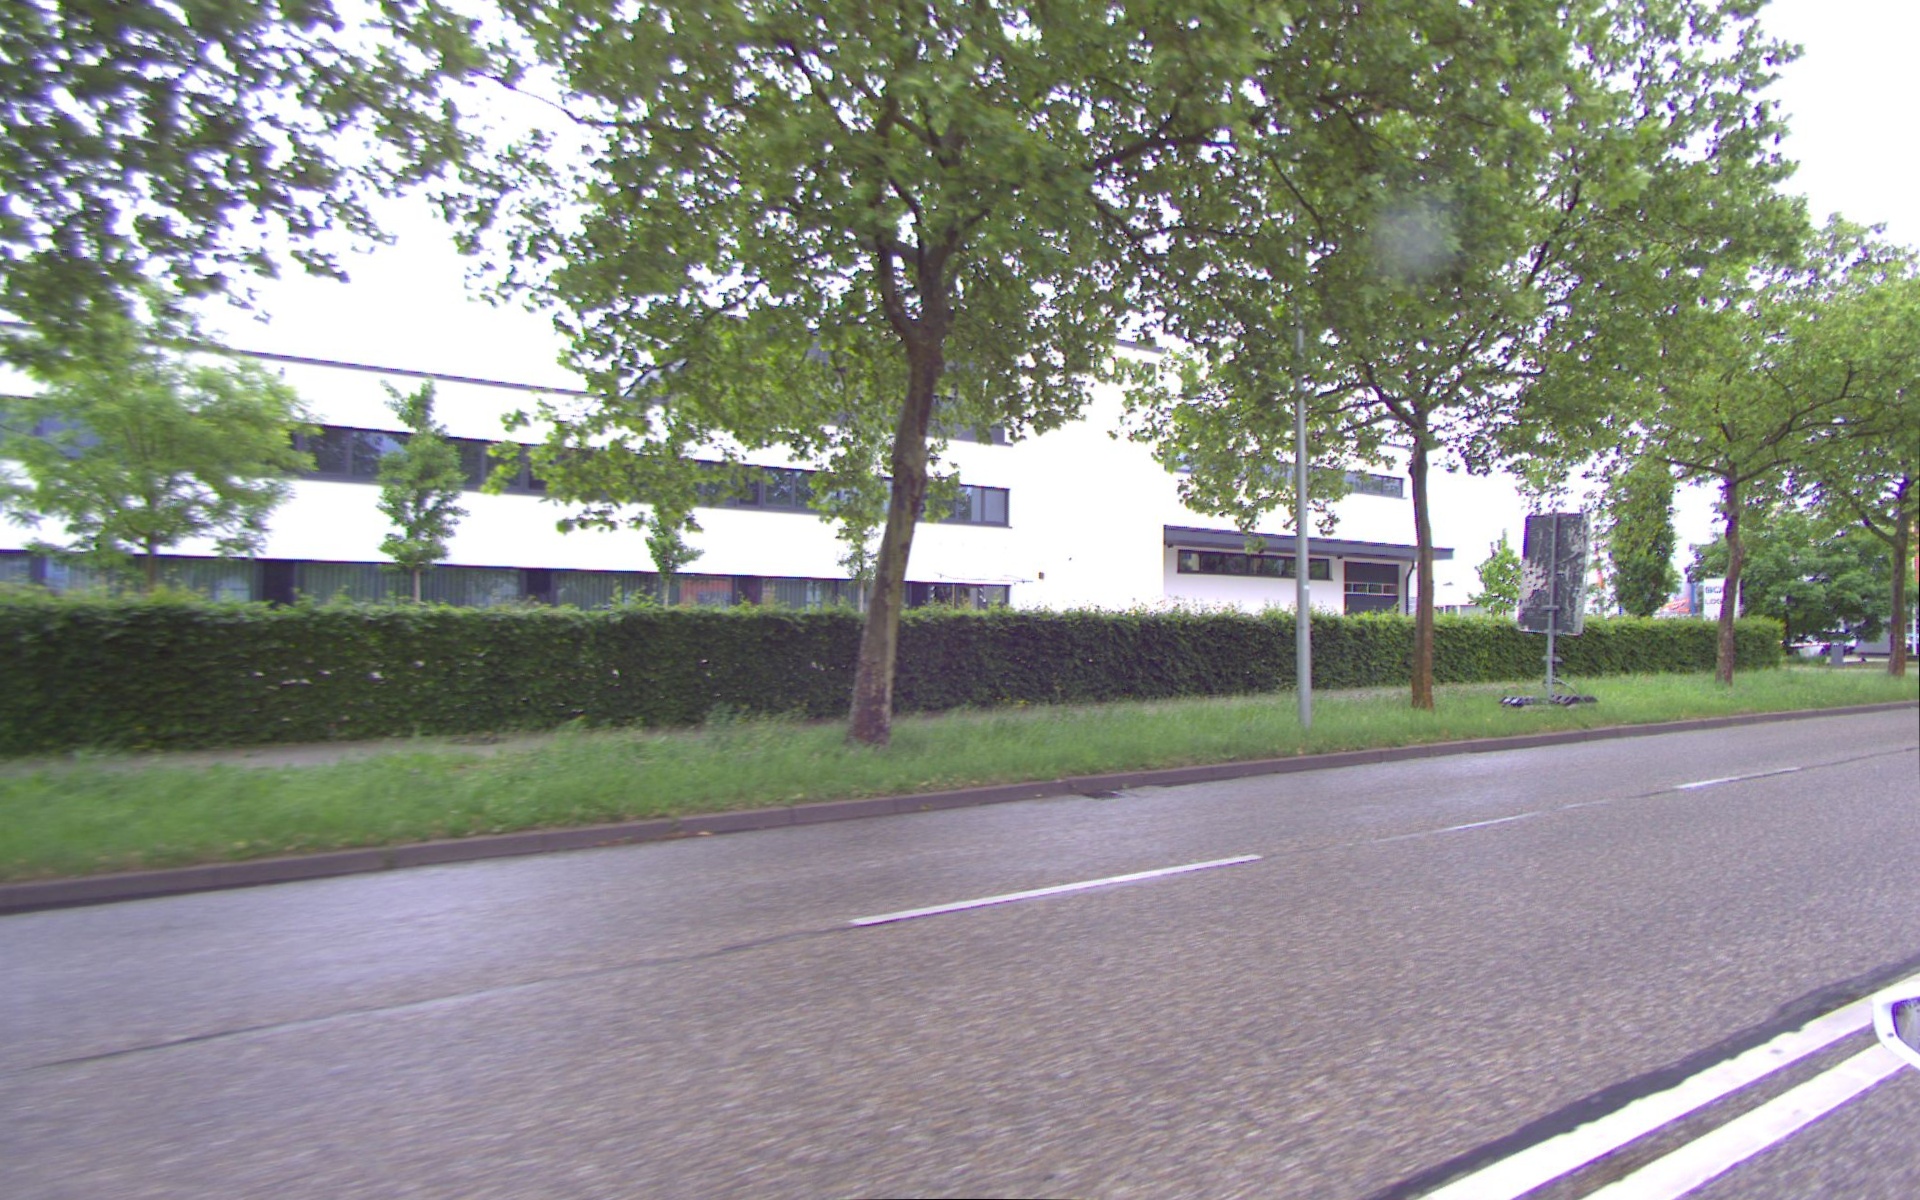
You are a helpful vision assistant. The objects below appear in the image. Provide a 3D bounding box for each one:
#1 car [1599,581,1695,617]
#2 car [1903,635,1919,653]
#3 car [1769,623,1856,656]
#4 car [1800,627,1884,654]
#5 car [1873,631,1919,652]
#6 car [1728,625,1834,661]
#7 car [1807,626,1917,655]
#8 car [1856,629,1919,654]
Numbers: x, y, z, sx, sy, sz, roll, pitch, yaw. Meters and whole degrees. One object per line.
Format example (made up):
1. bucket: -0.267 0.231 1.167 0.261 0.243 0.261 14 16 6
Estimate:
1. car: 38.082 -0.022 55.729 1.939 1.914 3.970 1 -2 -29
2. car: 82.537 3.714 84.857 1.574 1.487 3.985 1 -2 -18
3. car: 55.279 2.543 65.202 1.862 2.040 3.965 1 -2 -32
4. car: 60.259 2.716 68.648 1.862 1.790 3.965 1 -2 -32
5. car: 72.645 3.171 76.712 1.834 1.540 3.988 1 -2 -16
6. car: 37.007 1.907 45.247 5.188 1.516 2.107 1 -2 -32
7. car: 63.284 2.830 70.594 2.390 1.928 5.344 1 -2 -33
8. car: 70.312 3.081 75.600 1.834 1.790 3.988 1 -1 -15
